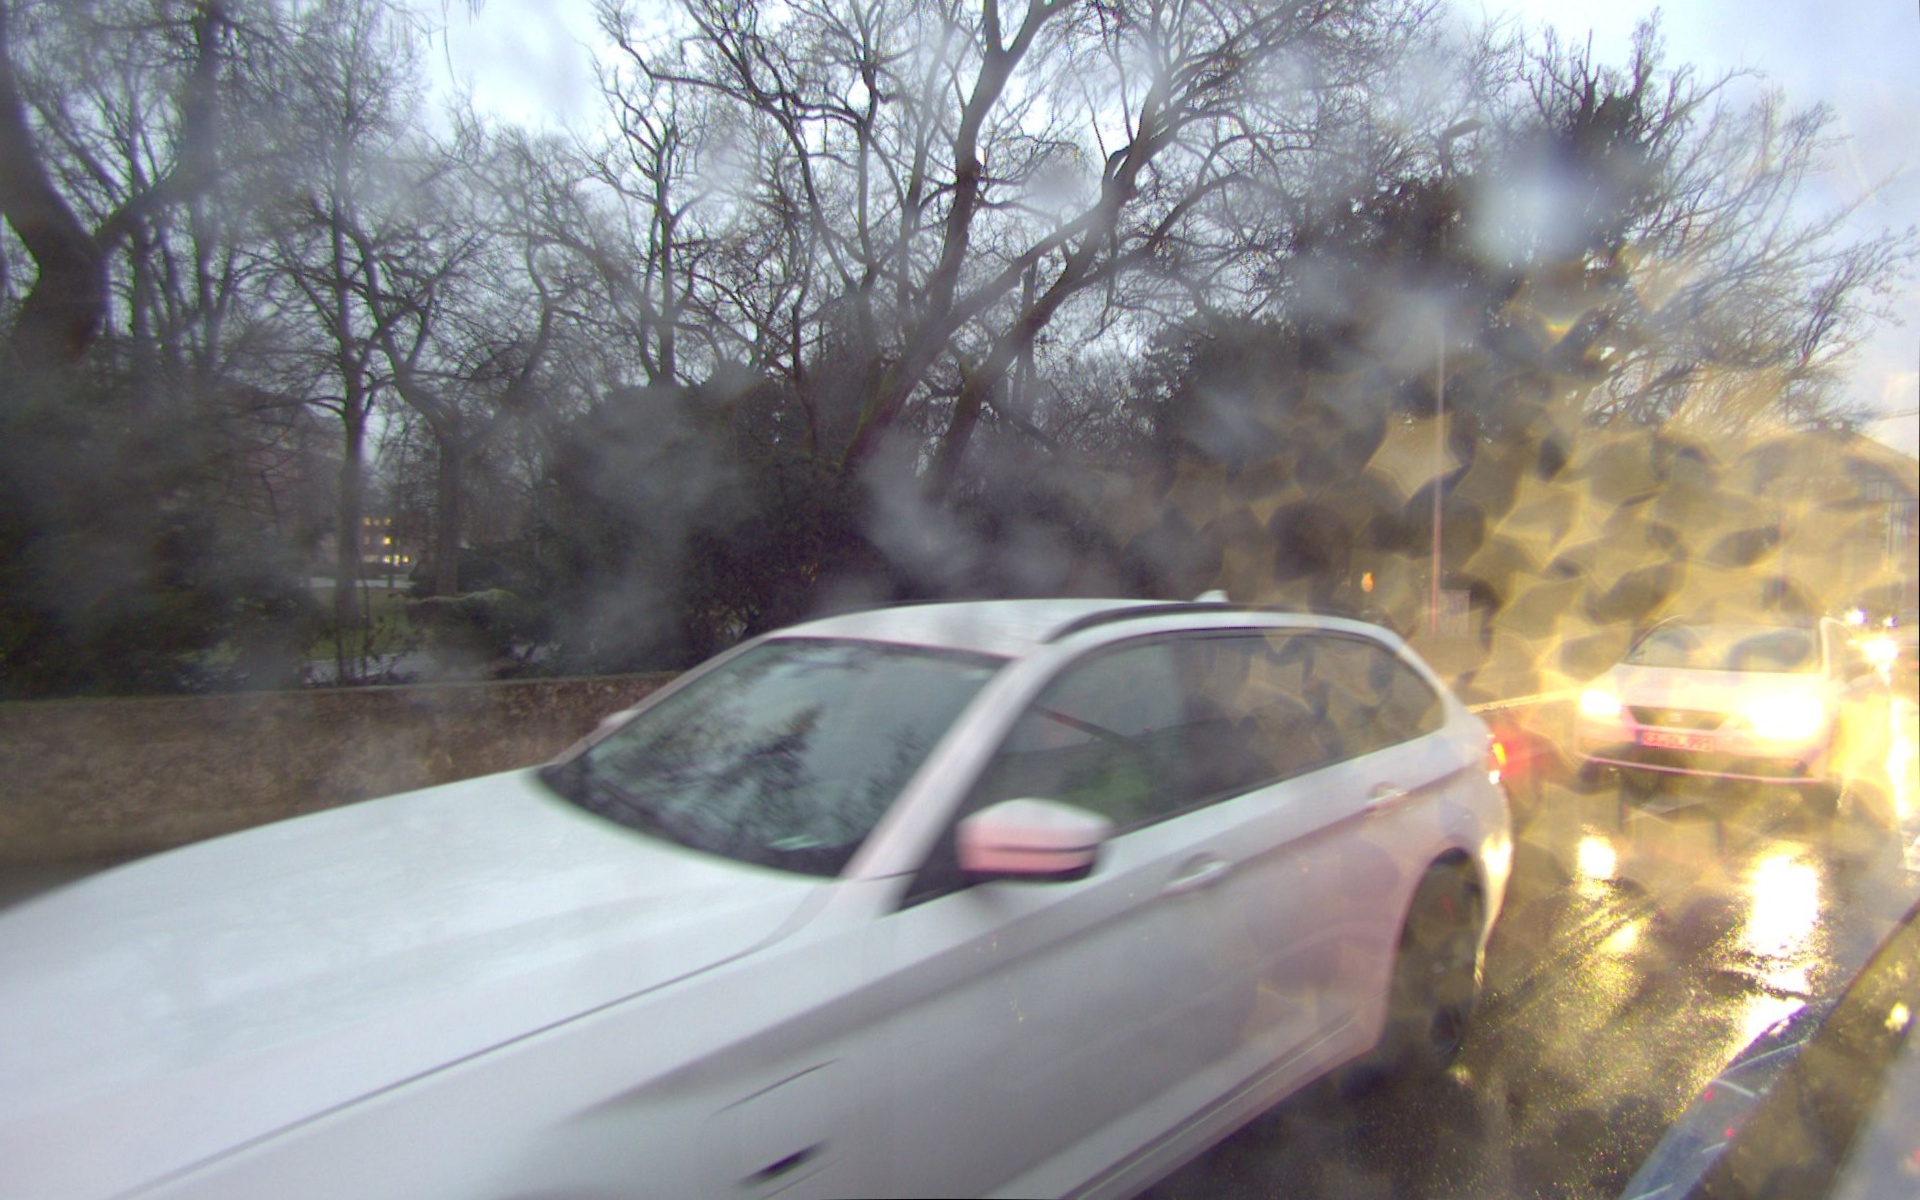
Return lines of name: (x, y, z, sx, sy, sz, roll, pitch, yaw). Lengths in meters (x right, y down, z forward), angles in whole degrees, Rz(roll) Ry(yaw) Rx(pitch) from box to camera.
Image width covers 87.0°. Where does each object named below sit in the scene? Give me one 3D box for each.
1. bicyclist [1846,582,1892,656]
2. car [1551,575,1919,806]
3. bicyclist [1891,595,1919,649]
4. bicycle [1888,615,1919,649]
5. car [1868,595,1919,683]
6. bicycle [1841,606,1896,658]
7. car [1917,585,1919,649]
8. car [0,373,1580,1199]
bicyclist: (28.090, 0.566, 31.291, 0.919, 2.251, 0.966, 0, 0, -43)
car: (7.167, 0.625, 9.146, 4.097, 1.580, 1.885, 0, 2, -41)
bicyclist: (30.702, 0.706, 32.821, 0.582, 1.706, 0.691, 0, 0, -41)
bicycle: (30.698, 1.029, 32.822, 1.691, 1.055, 0.691, 0, 0, -41)
car: (19.807, 0.735, 20.245, 4.196, 1.648, 2.070, 0, 0, -43)
bicycle: (27.997, 0.946, 31.177, 3.332, 1.469, 0.966, 0, 0, -43)
car: (26.833, 0.429, 26.556, 4.193, 1.648, 2.072, 0, 0, -40)
car: (-0.068, 0.553, 2.928, 4.853, 1.575, 1.865, 0, 2, -42)
